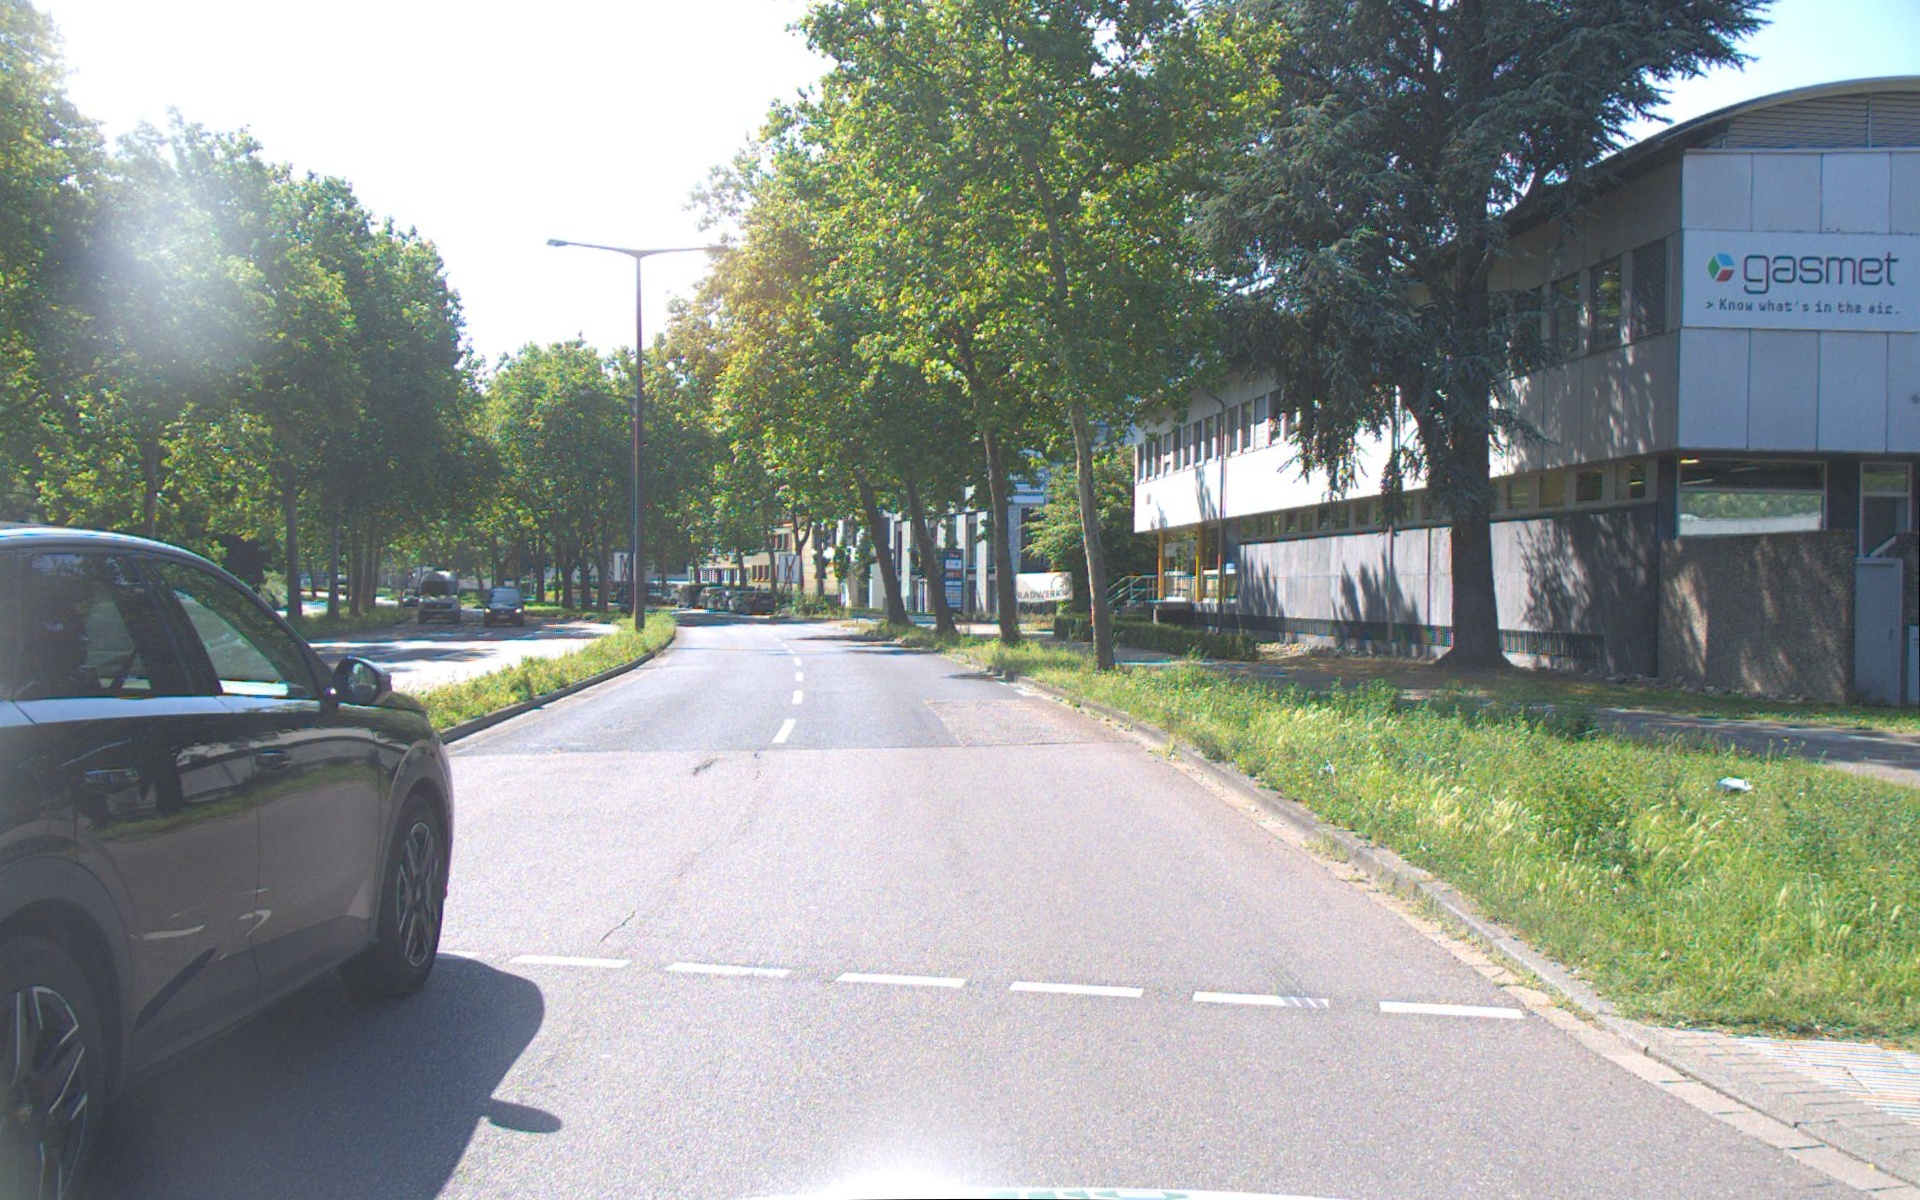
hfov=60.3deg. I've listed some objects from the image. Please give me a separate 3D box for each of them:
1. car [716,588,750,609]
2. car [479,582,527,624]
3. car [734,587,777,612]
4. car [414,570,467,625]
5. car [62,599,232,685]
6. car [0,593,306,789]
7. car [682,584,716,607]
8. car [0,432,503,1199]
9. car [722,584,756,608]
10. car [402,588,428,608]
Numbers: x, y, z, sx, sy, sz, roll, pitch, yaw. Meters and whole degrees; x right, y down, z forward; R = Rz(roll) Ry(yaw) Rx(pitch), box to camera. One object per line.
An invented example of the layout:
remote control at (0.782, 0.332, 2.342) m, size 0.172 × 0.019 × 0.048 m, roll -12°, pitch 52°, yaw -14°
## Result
car at (-15.906, -0.113, 115.700) m, size 1.679 × 1.480 × 4.635 m, roll 0°, pitch 0°, yaw -16°
car at (-20.932, 0.118, 75.911) m, size 1.655 × 1.871 × 4.982 m, roll -1°, pitch 0°, yaw -10°
car at (-13.032, -0.050, 105.292) m, size 1.682 × 1.513 × 4.691 m, roll -1°, pitch 1°, yaw -20°
car at (-26.551, -0.115, 84.724) m, size 2.025 × 2.659 × 7.192 m, roll 0°, pitch 0°, yaw -13°
car at (-16.696, 0.809, 34.214) m, size 1.676 × 1.617 × 4.427 m, roll -1°, pitch 0°, yaw -6°
car at (-7.750, 0.716, 15.119) m, size 1.658 × 1.534 × 4.131 m, roll 0°, pitch 0°, yaw 4°
car at (-20.146, -0.366, 127.454) m, size 1.682 × 1.698 × 4.505 m, roll 0°, pitch 0°, yaw -21°
car at (-2.765, 0.554, 4.641) m, size 1.834 × 1.726 × 4.434 m, roll 0°, pitch 0°, yaw -2°
car at (-14.782, -0.271, 110.687) m, size 1.679 × 1.514 × 4.083 m, roll 0°, pitch 0°, yaw -16°
car at (-45.209, -0.164, 137.280) m, size 1.764 × 1.583 × 4.379 m, roll 0°, pitch 0°, yaw -14°
